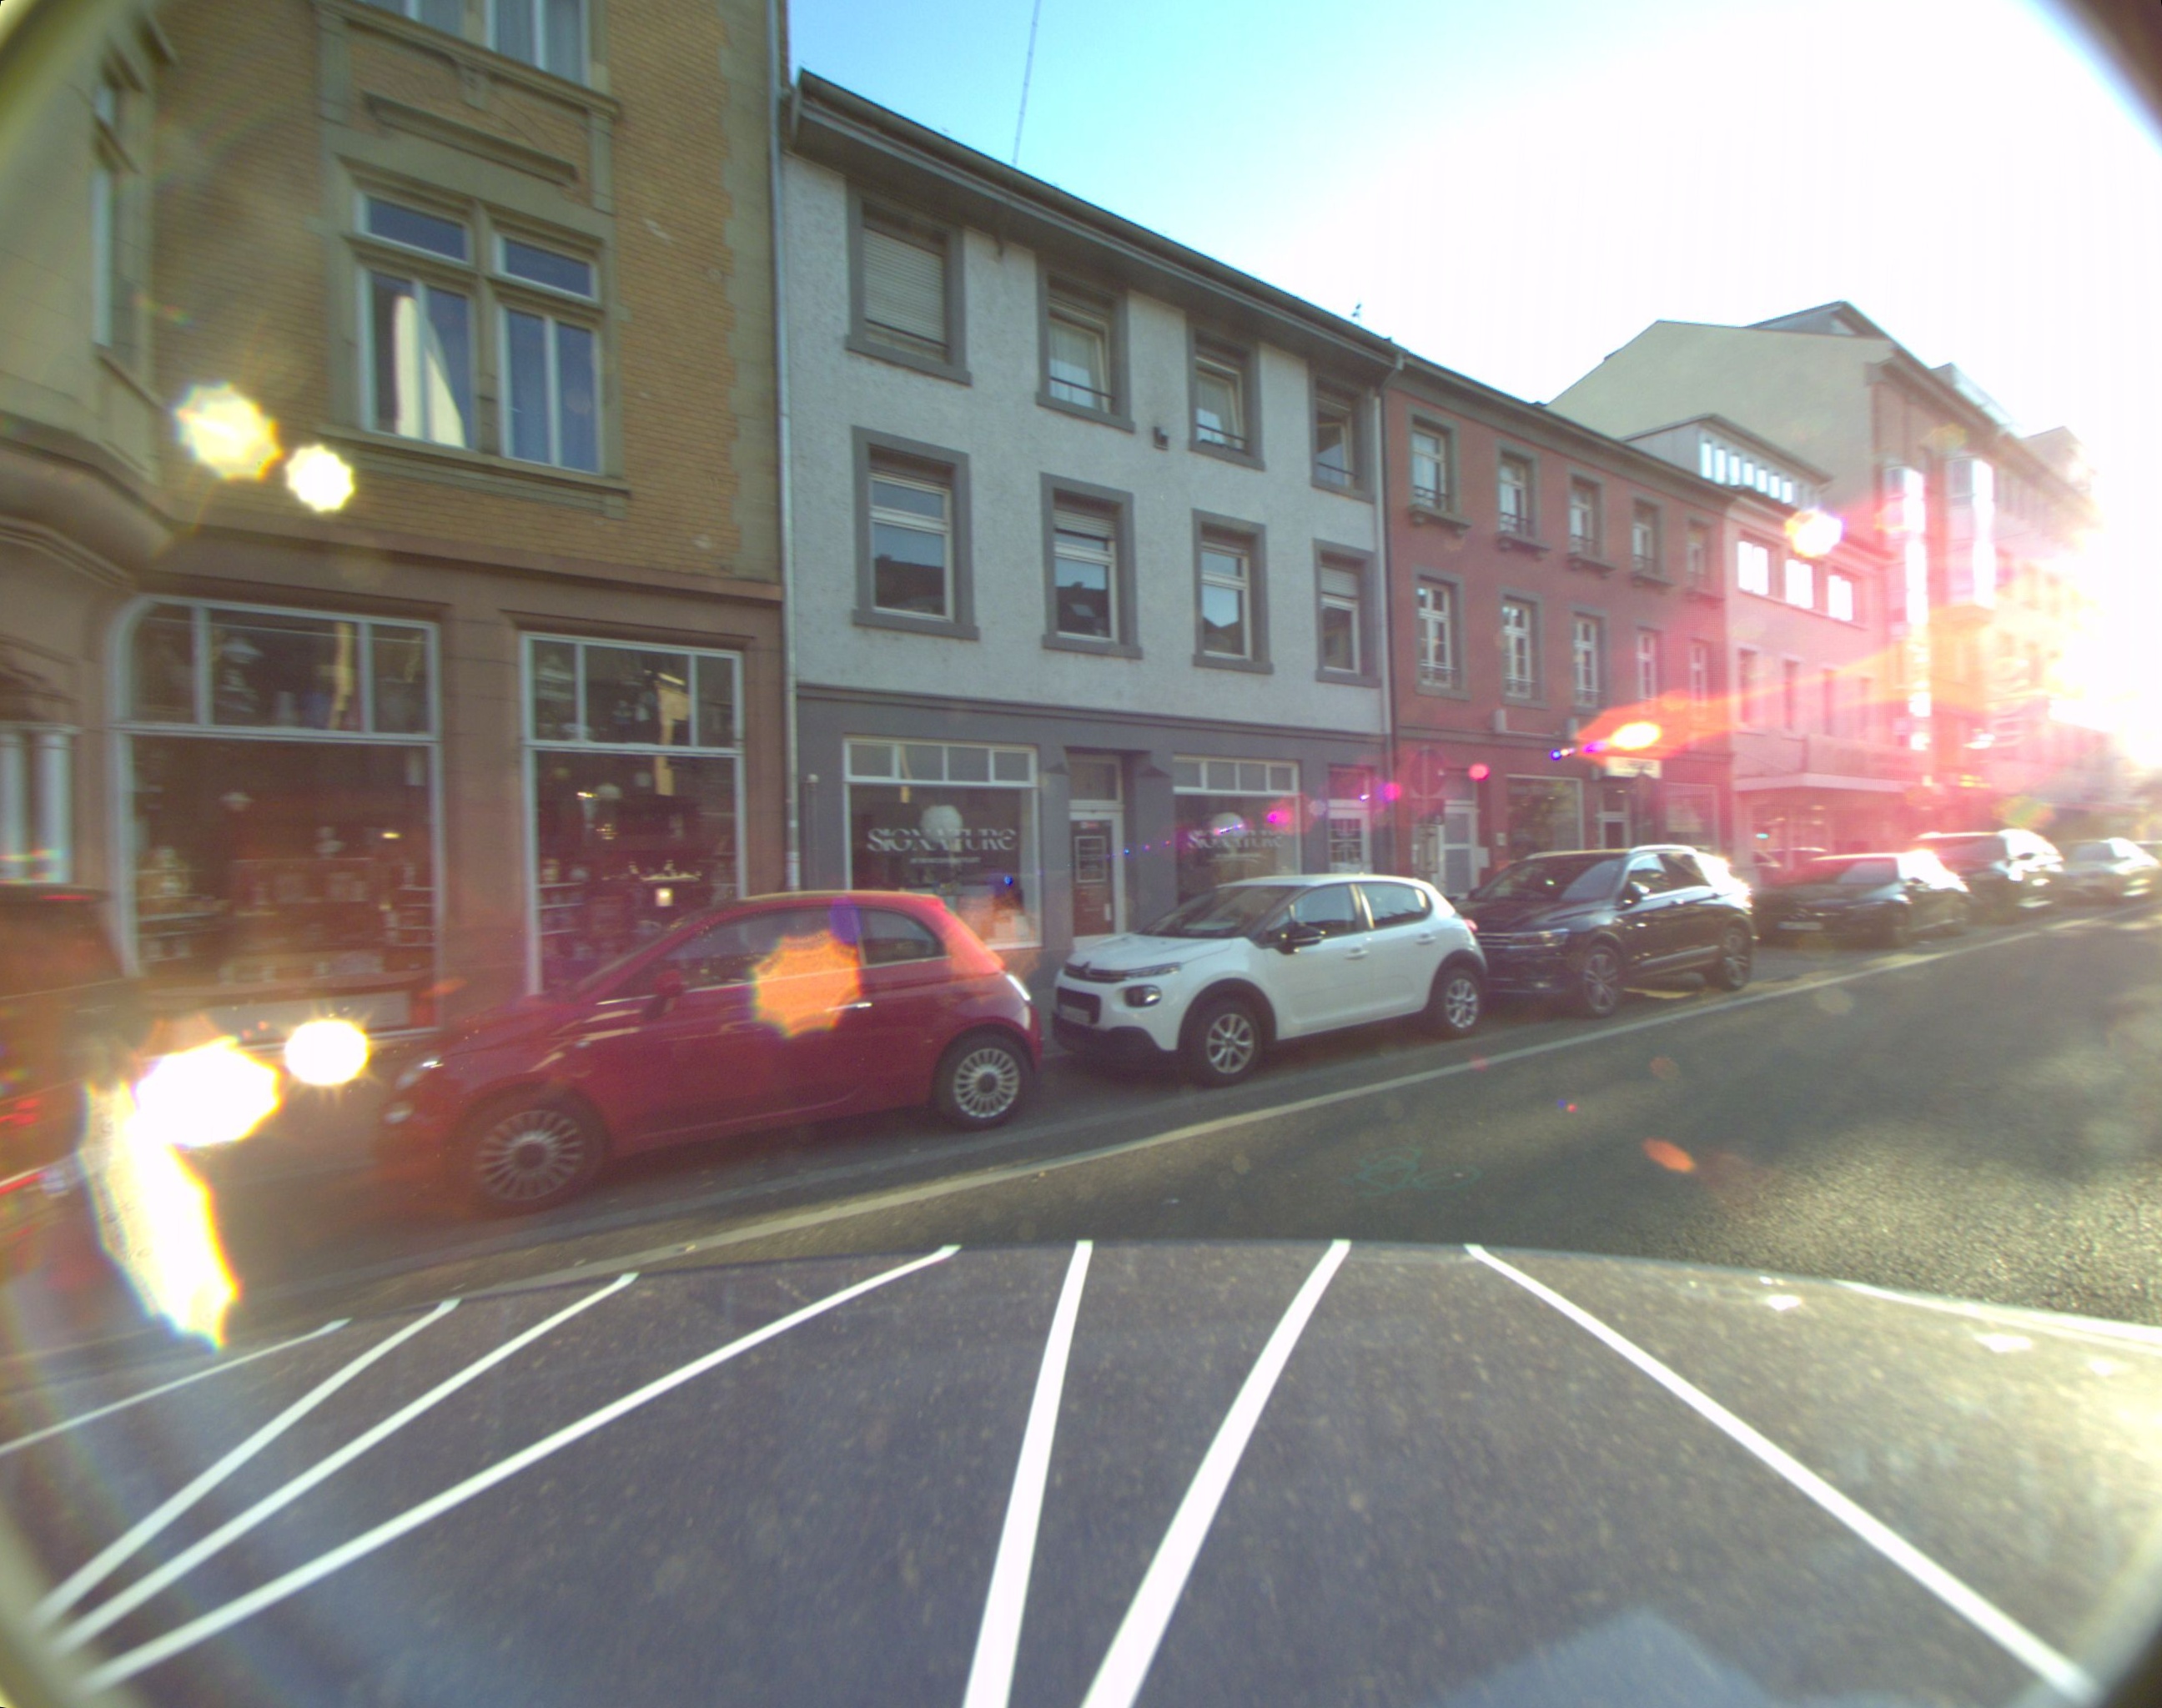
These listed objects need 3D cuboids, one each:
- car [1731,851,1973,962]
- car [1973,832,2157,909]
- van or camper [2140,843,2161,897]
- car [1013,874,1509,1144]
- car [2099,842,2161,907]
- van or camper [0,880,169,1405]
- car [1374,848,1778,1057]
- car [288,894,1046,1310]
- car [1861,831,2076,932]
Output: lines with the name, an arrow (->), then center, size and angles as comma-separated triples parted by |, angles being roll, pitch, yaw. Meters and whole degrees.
car -> 13.022, 0.805, 12.780 | 4.417, 1.479, 1.687 | -2, -3, -30
car -> 24.349, 0.377, 18.782 | 4.634, 1.645, 1.996 | -2, -1, -28
van or camper -> 38.399, 0.490, 26.037 | 4.564, 1.763, 1.790 | -2, 0, -27
car -> 1.594, 1.043, 6.487 | 3.940, 1.563, 1.664 | -2, -2, -28
car -> 30.041, 0.510, 20.823 | 4.487, 1.645, 1.995 | -2, 0, -30
van or camper -> -5.786, 1.044, 1.661 | 4.468, 1.797, 1.891 | -1, -1, -34
car -> 5.531, 0.874, 8.367 | 4.467, 1.688, 1.796 | -2, -2, -30
car -> -2.120, 1.109, 4.639 | 3.426, 1.560, 1.528 | -2, -1, -27
car -> 18.632, 0.492, 15.890 | 5.327, 1.766, 1.996 | -2, -1, -31
